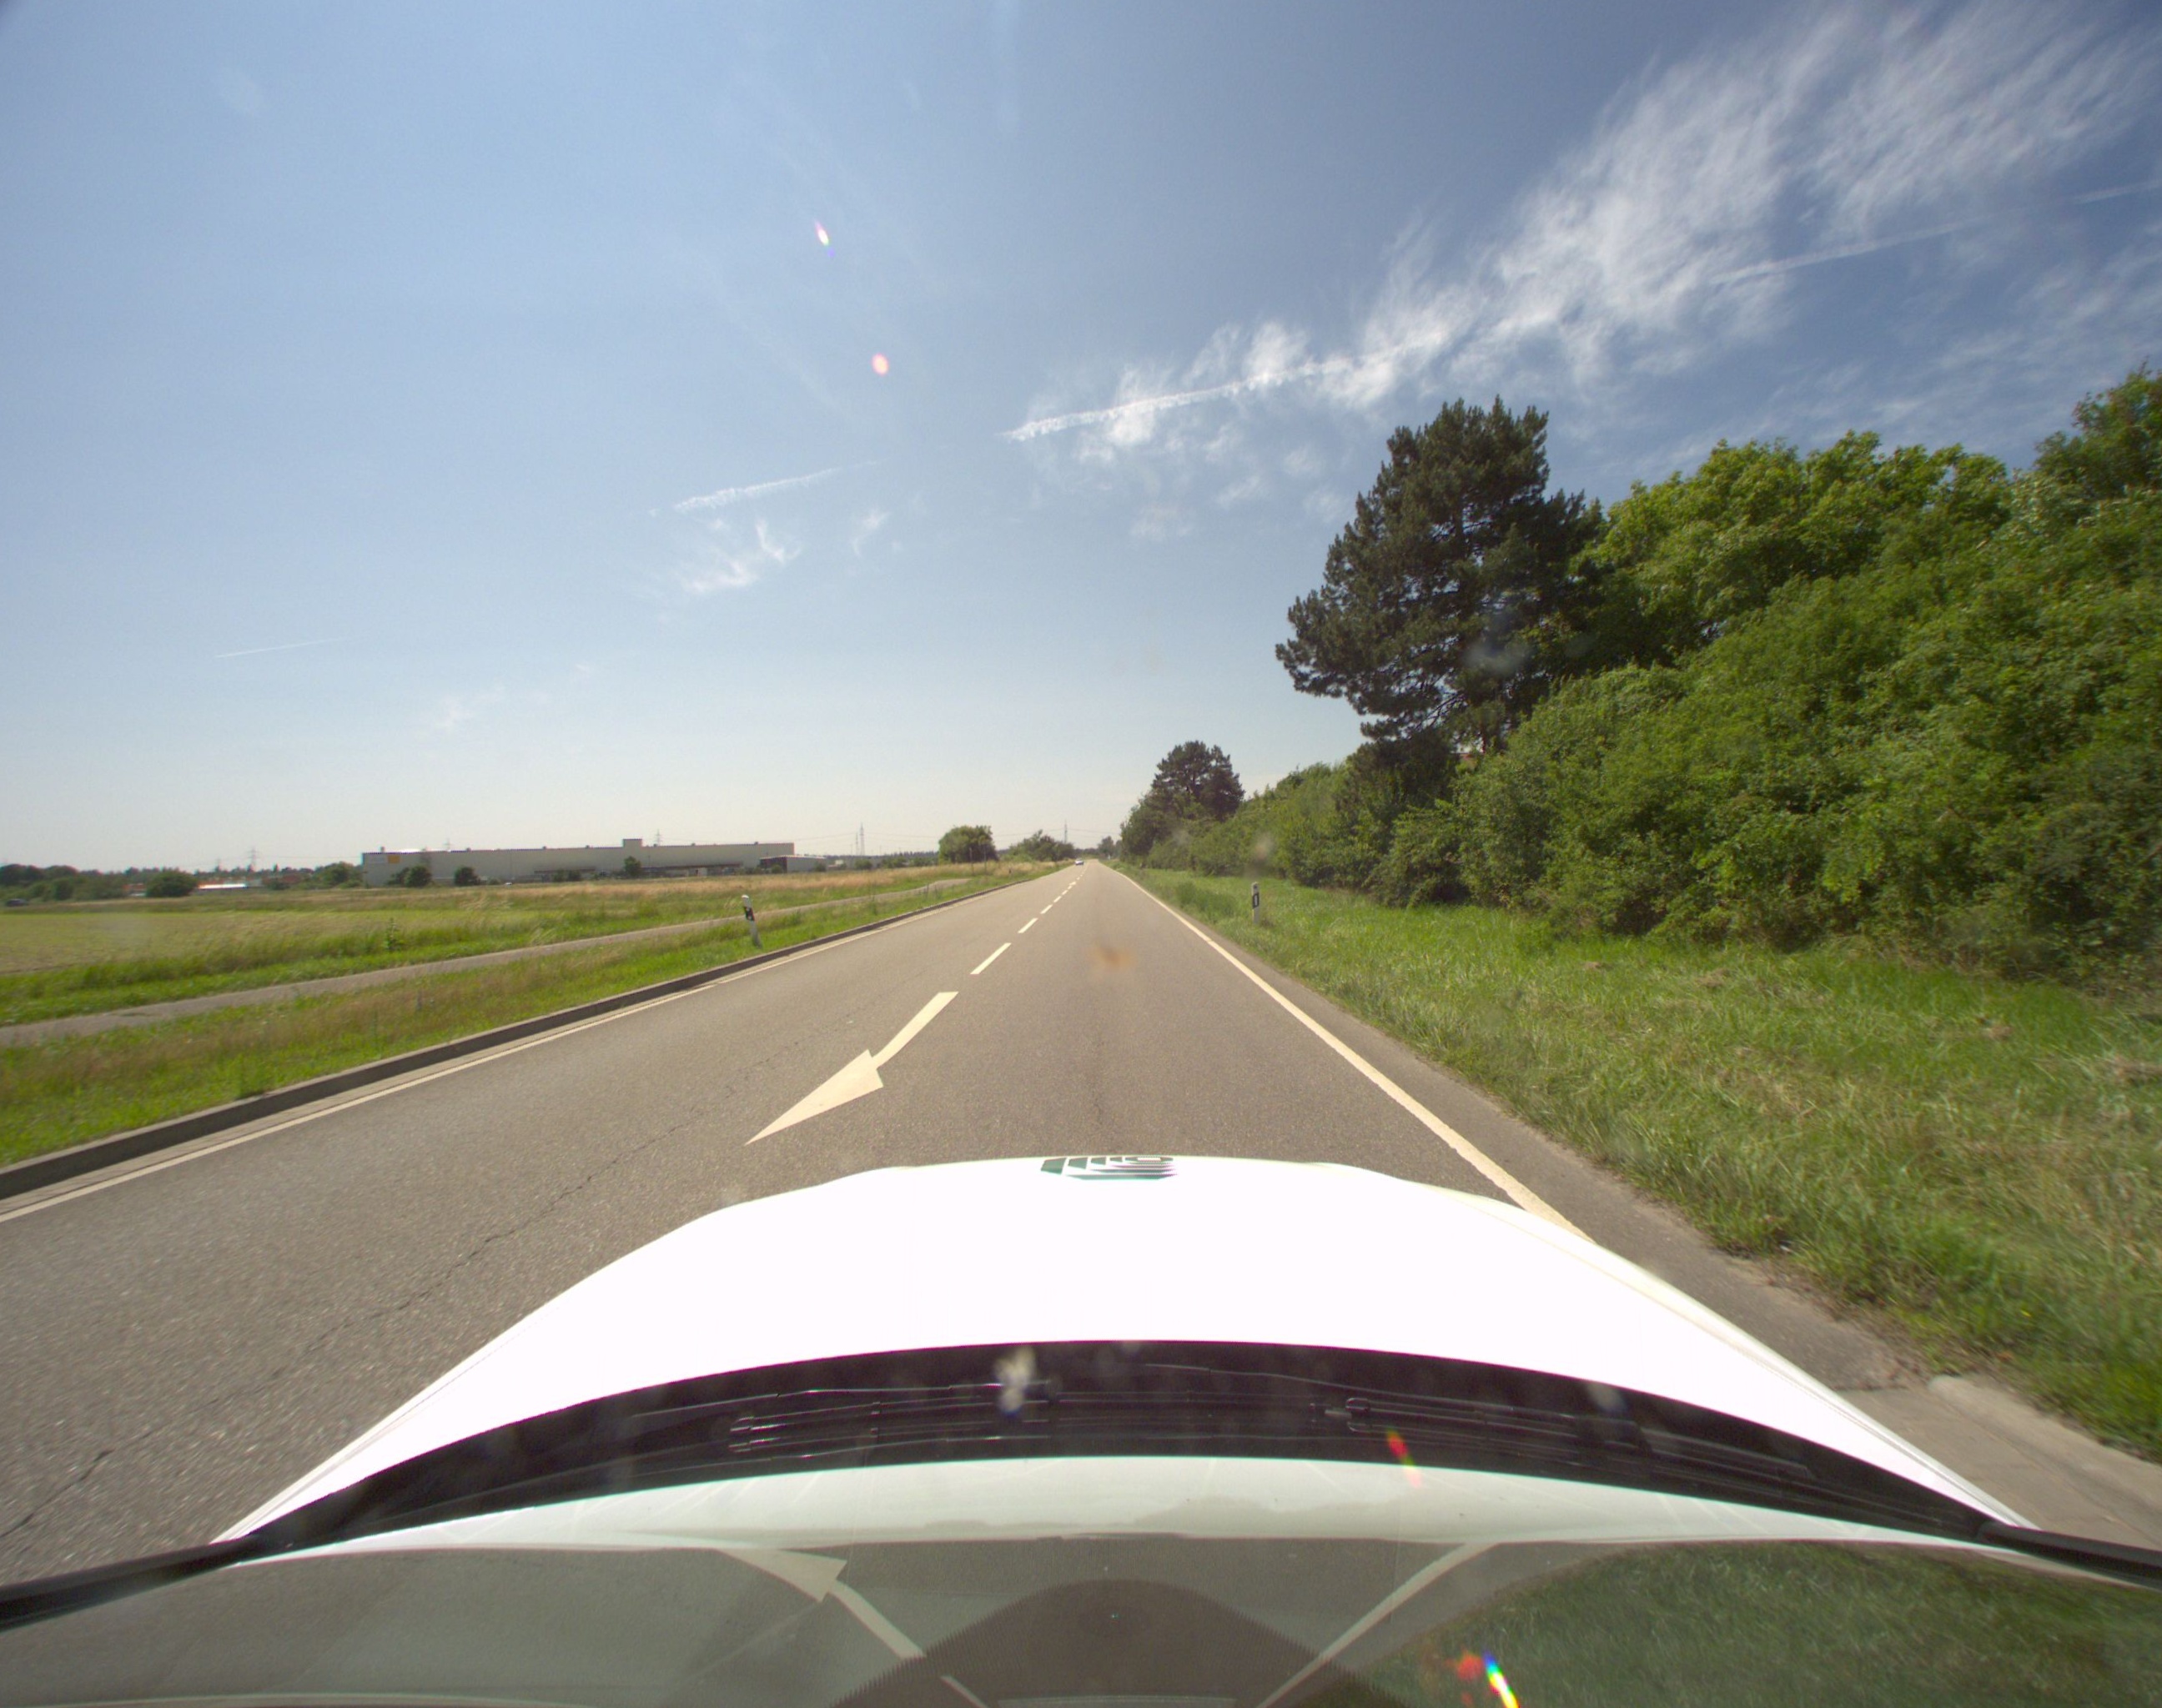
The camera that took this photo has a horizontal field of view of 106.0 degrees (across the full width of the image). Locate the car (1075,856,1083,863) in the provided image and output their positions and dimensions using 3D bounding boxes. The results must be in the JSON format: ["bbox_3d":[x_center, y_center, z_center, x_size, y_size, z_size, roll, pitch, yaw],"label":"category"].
[{"bbox_3d":[-0.503,1.178,181.094,1.673,1.421,4.422,-4,0,0],"label":"car"}]
